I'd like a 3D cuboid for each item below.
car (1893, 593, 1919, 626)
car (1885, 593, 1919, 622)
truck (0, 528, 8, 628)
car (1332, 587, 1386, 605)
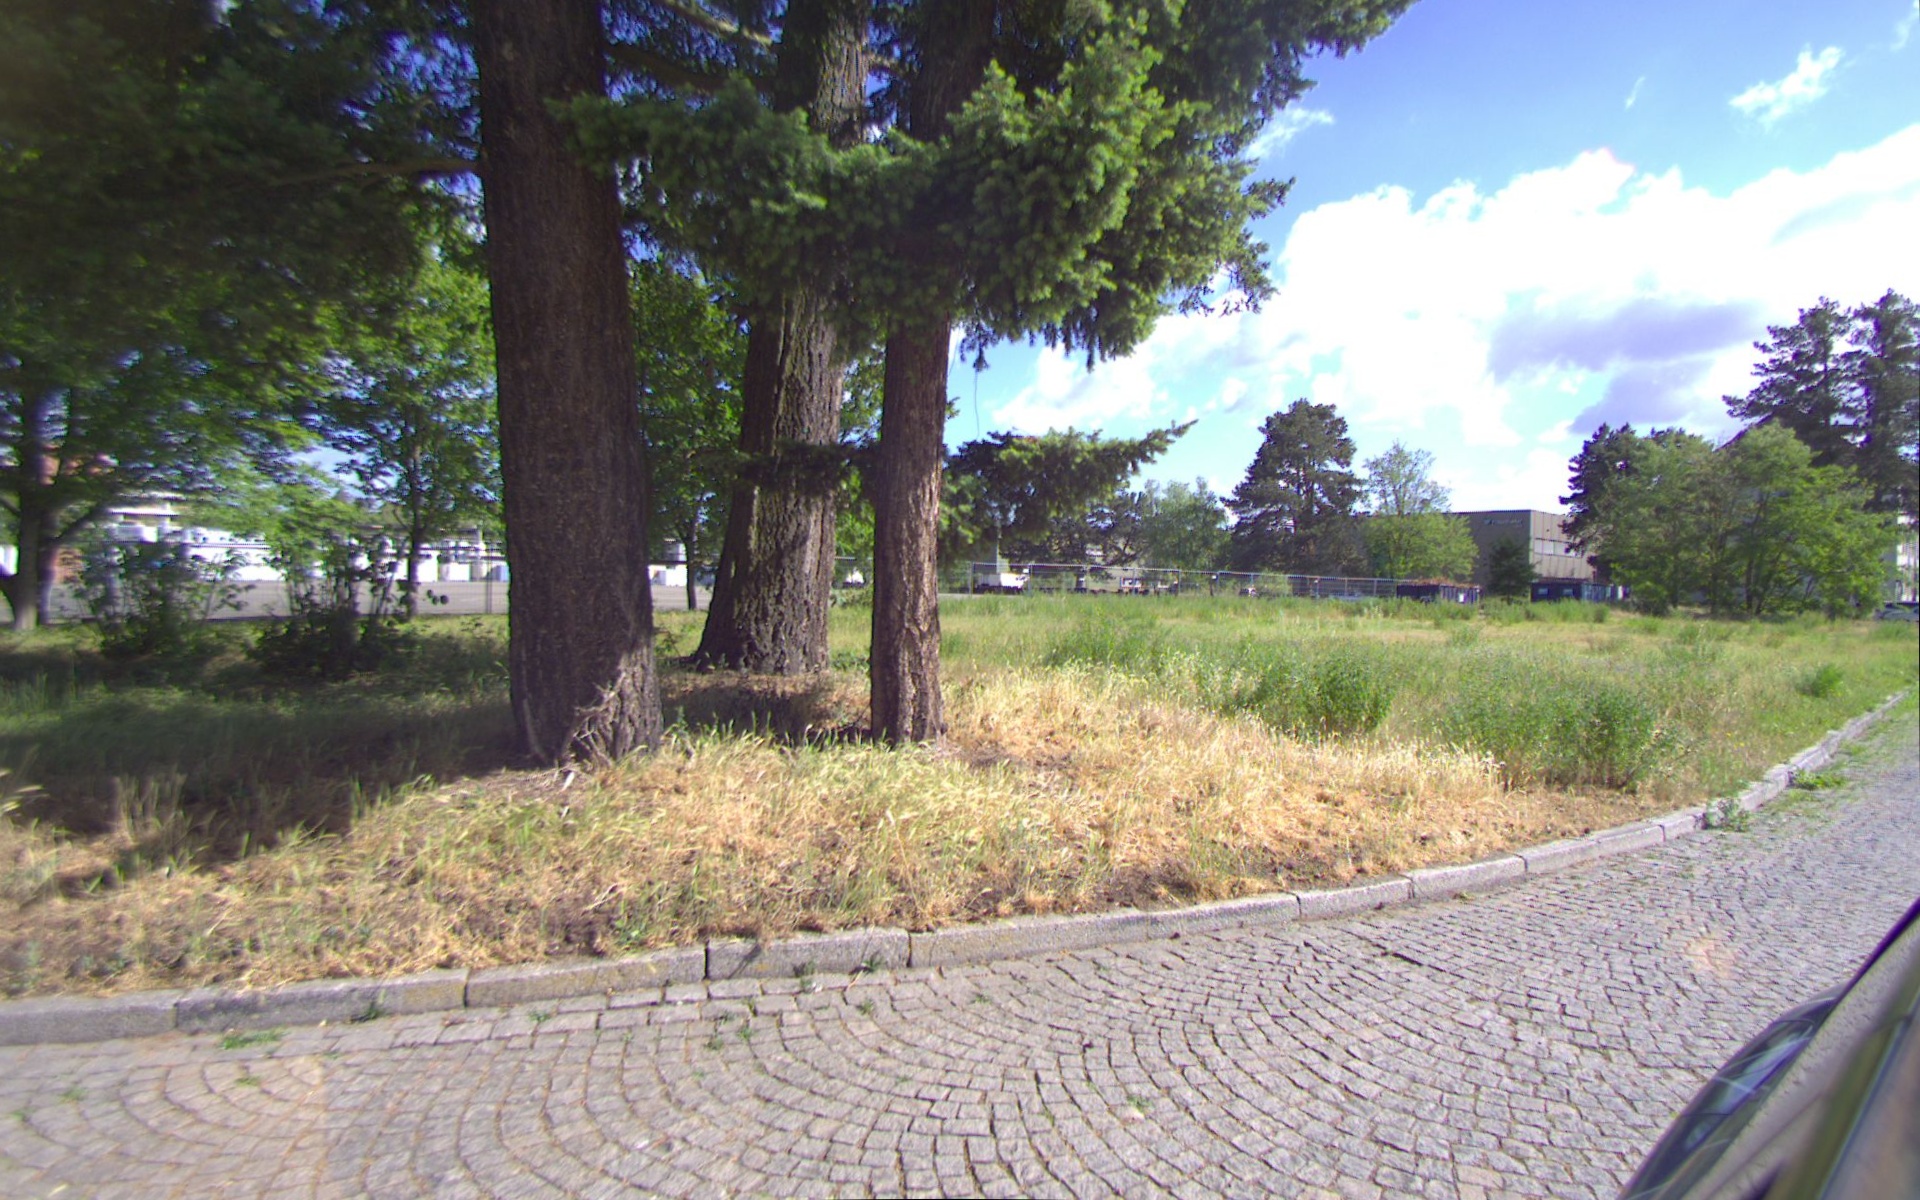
[{"bbox_3d":[47.072,0.567,48.163,1.723,1.494,3.746,0,4,-43],"label":"car"},{"bbox_3d":[52.432,0.490,53.935,1.809,1.482,4.517,0,4,-44],"label":"car"},{"bbox_3d":[-26.641,-0.532,23.353,6.771,2.454,2.235,0,0,-43],"label":"truck"},{"bbox_3d":[34.883,-0.320,88.490,1.715,1.440,3.993,2,0,-42],"label":"car"}]
